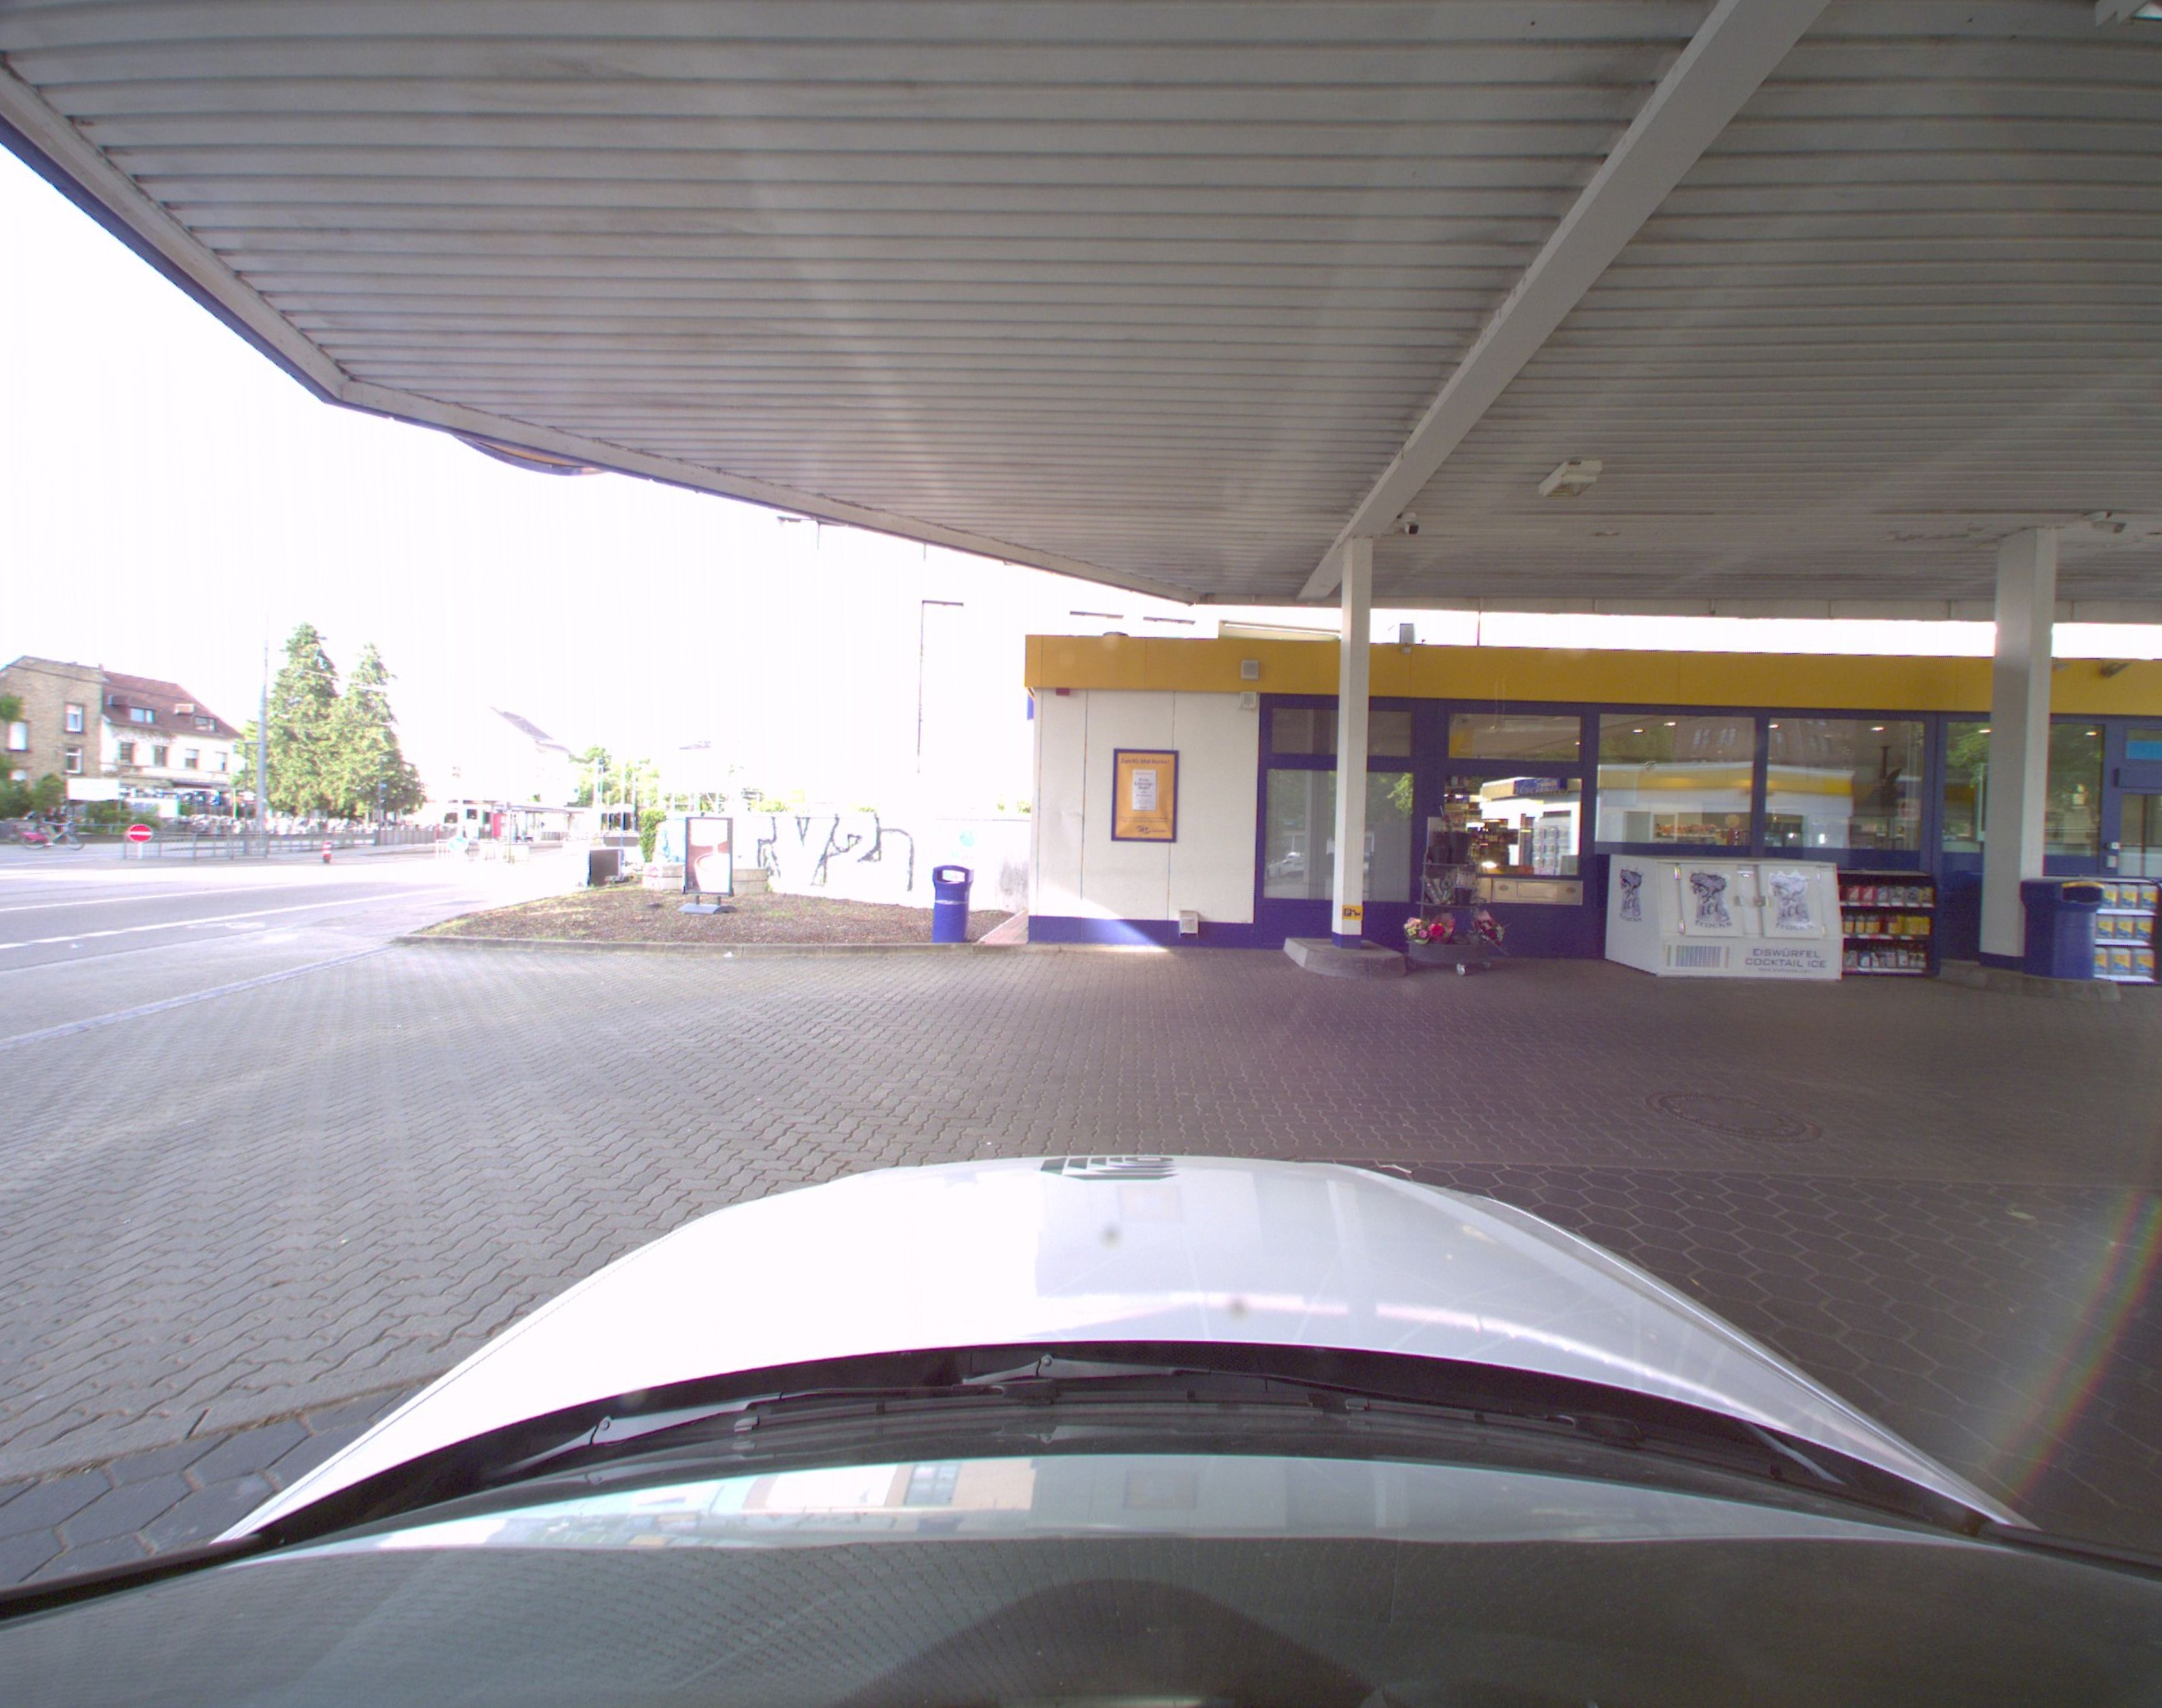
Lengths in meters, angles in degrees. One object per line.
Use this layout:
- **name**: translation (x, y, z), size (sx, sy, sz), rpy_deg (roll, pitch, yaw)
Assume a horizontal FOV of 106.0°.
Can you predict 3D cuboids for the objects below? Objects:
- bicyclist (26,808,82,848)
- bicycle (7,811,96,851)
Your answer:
- **bicyclist**: translation (-41.215, -1.028, 32.695), size (0.781, 1.492, 1.099), rpy_deg (4, 0, 11)
- **bicycle**: translation (-41.232, -0.894, 32.645), size (0.781, 1.492, 1.998), rpy_deg (4, 0, 12)
